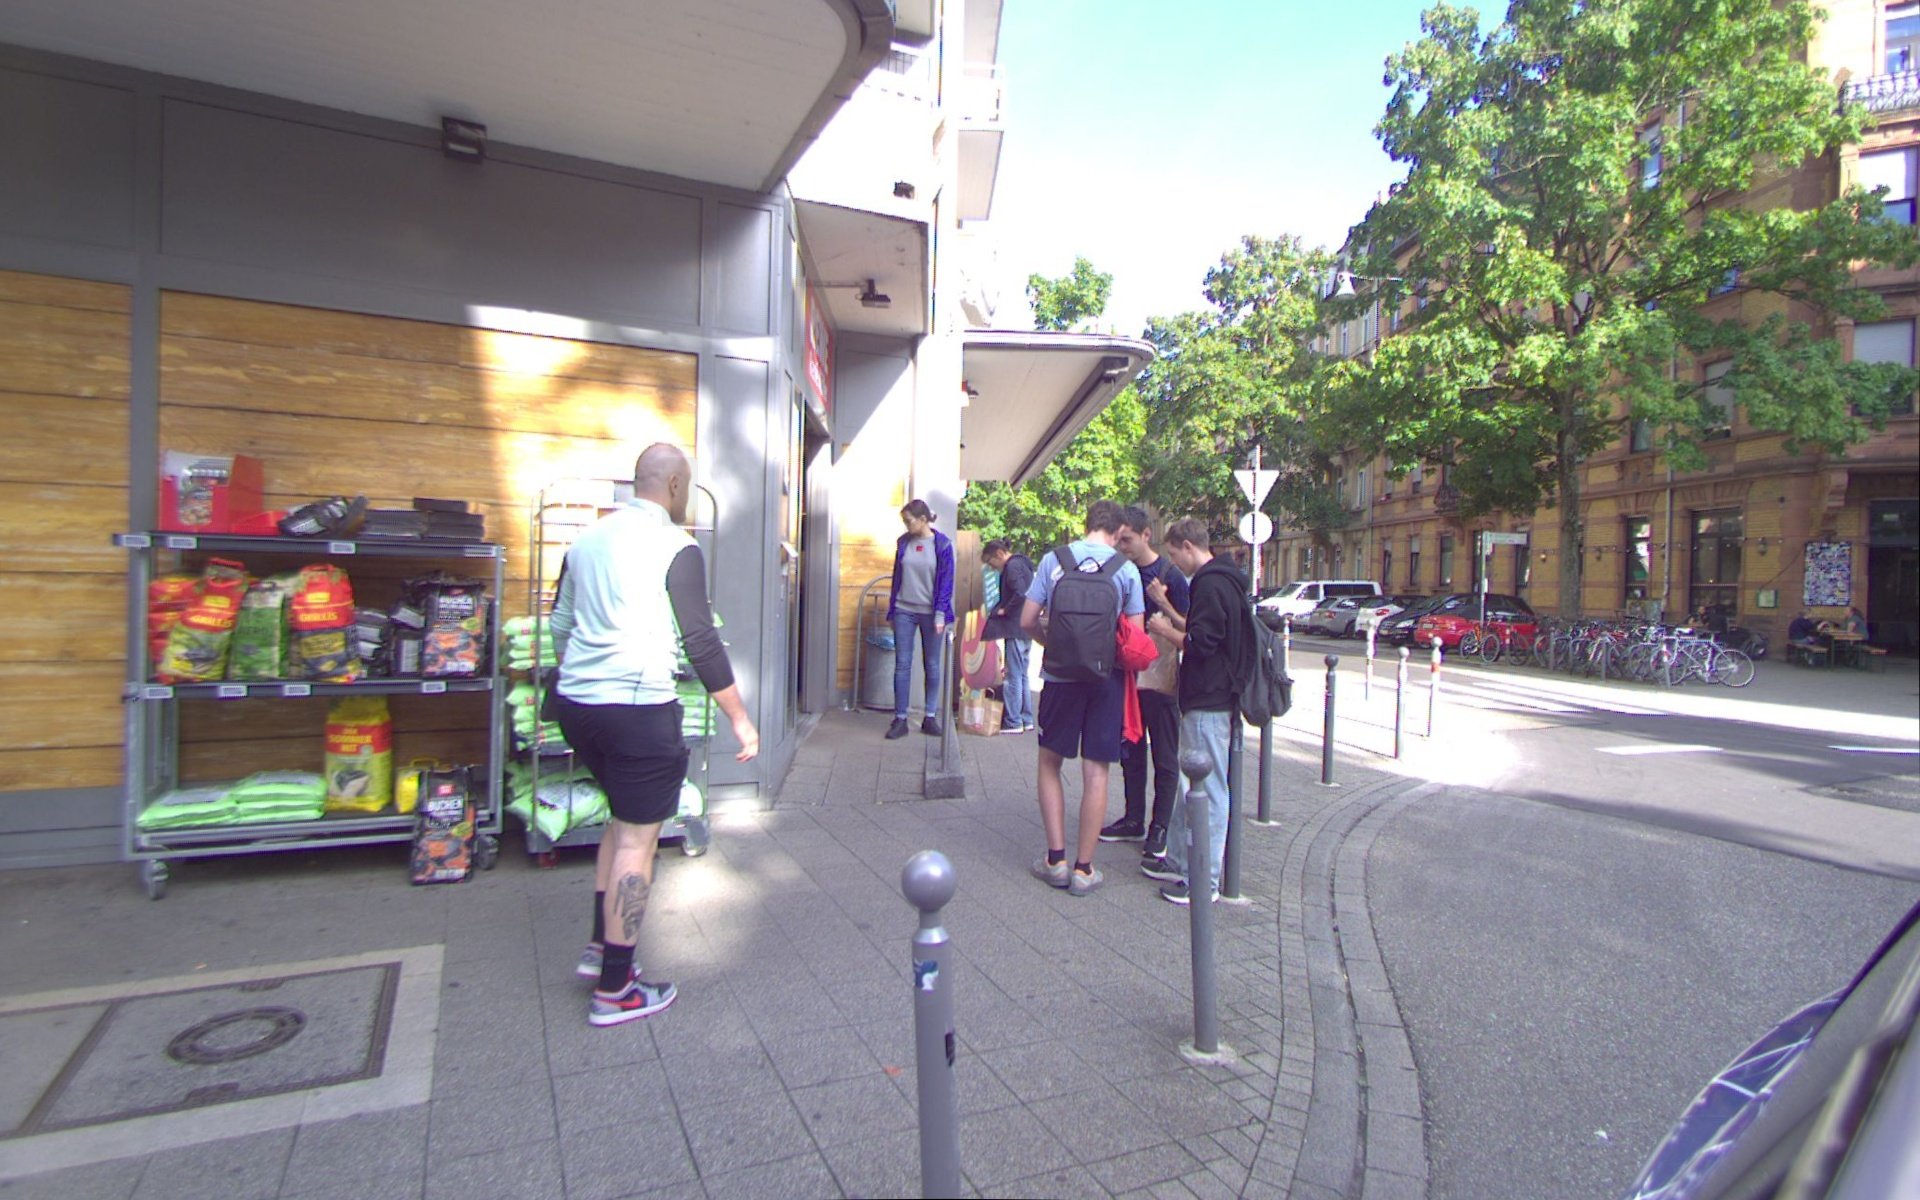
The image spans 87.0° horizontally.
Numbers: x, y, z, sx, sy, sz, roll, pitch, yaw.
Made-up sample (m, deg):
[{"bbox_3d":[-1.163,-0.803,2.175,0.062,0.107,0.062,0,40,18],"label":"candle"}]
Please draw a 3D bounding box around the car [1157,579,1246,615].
[{"bbox_3d":[13.317,-0.201,56.046,4.371,1.856,1.938,-1,1,-3],"label":"car"}]

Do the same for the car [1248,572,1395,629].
[{"bbox_3d":[13.791,-0.015,38.779,4.815,2.014,2.049,-1,1,-3],"label":"car"}]

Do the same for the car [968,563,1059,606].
[{"bbox_3d":[3.067,-0.861,57.653,4.715,2.249,2.149,2,0,-32],"label":"car"}]

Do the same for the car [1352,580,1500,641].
[{"bbox_3d":[14.278,0.306,31.161,3.639,1.743,1.860,1,0,2],"label":"car"}]

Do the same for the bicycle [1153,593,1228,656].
[{"bbox_3d":[4.718,0.485,20.800,0.405,1.190,1.857,2,1,-25],"label":"bicycle"}]

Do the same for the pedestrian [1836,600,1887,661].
[{"bbox_3d":[19.538,0.659,21.941,0.630,1.274,0.511,0,2,7],"label":"pedestrian"}]

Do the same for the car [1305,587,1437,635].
[{"bbox_3d":[13.535,0.350,33.456,3.639,1.476,1.669,-1,0,2],"label":"car"}]

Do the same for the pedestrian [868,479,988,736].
[{"bbox_3d":[-0.212,0.041,7.543,0.752,1.775,0.929,2,1,5],"label":"pedestrian"}]

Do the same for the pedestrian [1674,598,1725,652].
[{"bbox_3d":[18.124,0.599,24.815,0.754,1.301,0.629,-1,0,-2],"label":"pedestrian"}]

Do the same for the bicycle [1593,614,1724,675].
[{"bbox_3d":[13.267,0.827,19.262,2.014,1.102,0.446,0,1,13],"label":"bicycle"}]

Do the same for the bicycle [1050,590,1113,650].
[{"bbox_3d":[2.458,0.394,20.607,0.412,1.099,1.702,2,2,-24],"label":"bicycle"}]

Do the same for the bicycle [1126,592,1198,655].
[{"bbox_3d":[4.169,0.460,21.007,0.405,1.190,1.857,2,1,-25],"label":"bicycle"}]

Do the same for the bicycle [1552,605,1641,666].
[{"bbox_3d":[13.282,0.737,21.126,1.677,1.216,0.449,0,1,-8],"label":"bicycle"}]

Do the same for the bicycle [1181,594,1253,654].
[{"bbox_3d":[5.606,0.506,22.166,0.405,1.190,1.857,2,1,-25],"label":"bicycle"}]

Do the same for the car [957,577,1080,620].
[{"bbox_3d":[2.317,-0.041,39.810,4.535,1.514,1.753,2,0,-28],"label":"car"}]

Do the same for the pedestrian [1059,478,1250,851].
[{"bbox_3d":[0.986,0.313,5.283,0.645,1.818,0.657,3,3,-13],"label":"pedestrian"}]

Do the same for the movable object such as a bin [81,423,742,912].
[{"bbox_3d":[-2.267,0.248,4.531,2.373,1.766,0.783,1,1,-26],"label":"movable object such as a bin"}]

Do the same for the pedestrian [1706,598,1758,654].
[{"bbox_3d":[18.311,0.601,24.014,0.754,1.301,0.629,-1,0,-2],"label":"pedestrian"}]

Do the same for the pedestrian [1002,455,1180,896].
[{"bbox_3d":[0.587,0.300,4.618,0.622,1.818,0.714,4,3,7],"label":"pedestrian"}]

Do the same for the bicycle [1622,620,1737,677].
[{"bbox_3d":[13.334,0.896,18.788,1.686,0.999,0.446,0,2,13],"label":"bicycle"}]

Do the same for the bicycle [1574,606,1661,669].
[{"bbox_3d":[13.356,0.757,20.572,1.676,1.216,0.449,-1,1,-14],"label":"bicycle"}]

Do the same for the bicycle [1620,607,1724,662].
[{"bbox_3d":[15.393,0.736,21.903,1.767,1.127,0.600,0,1,4],"label":"bicycle"}]

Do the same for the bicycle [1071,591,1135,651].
[{"bbox_3d":[2.880,0.403,20.539,0.412,1.099,1.702,2,2,-24],"label":"bicycle"}]

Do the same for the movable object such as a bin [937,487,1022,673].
[{"bbox_3d":[0.175,-0.212,10.625,0.677,1.776,1.551,3,1,-3],"label":"movable object such as a bin"}]

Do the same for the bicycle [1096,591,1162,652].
[{"bbox_3d":[3.415,0.413,20.579,0.412,1.099,1.702,2,2,-24],"label":"bicycle"}]

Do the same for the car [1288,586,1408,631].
[{"bbox_3d":[13.823,0.275,36.193,3.638,1.476,1.670,-1,1,1],"label":"car"}]

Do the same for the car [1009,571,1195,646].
[{"bbox_3d":[3.348,0.181,24.098,3.916,1.473,1.815,4,1,-14],"label":"car"}]

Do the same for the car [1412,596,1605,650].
[{"bbox_3d":[13.862,0.577,25.695,4.032,1.286,1.568,-1,0,-2],"label":"car"}]

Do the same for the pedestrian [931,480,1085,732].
[{"bbox_3d":[0.431,0.024,8.836,0.858,2.038,1.022,4,2,33],"label":"pedestrian"}]

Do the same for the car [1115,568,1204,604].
[{"bbox_3d":[13.056,-0.897,66.443,5.378,2.229,2.000,1,0,0],"label":"car"}]

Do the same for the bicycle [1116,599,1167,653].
[{"bbox_3d":[3.689,0.513,20.700,0.404,1.031,1.505,2,1,-14],"label":"bicycle"}]

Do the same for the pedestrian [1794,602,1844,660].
[{"bbox_3d":[18.778,0.669,22.122,0.630,1.239,0.511,0,2,7],"label":"pedestrian"}]

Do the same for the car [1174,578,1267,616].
[{"bbox_3d":[13.776,-0.195,53.707,4.371,1.856,1.938,-1,1,-3],"label":"car"}]

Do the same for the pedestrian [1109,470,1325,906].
[{"bbox_3d":[1.193,0.348,4.683,0.709,1.818,0.626,5,3,29],"label":"pedestrian"}]

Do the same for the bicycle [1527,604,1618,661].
[{"bbox_3d":[13.391,0.696,22.150,1.681,1.216,0.448,0,1,4],"label":"bicycle"}]

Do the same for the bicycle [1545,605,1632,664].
[{"bbox_3d":[13.411,0.723,21.603,1.677,1.216,0.449,0,1,-8],"label":"bicycle"}]

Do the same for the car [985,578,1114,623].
[{"bbox_3d":[3.370,0.029,37.814,4.535,1.514,1.753,2,0,-28],"label":"car"}]

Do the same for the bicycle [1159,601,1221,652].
[{"bbox_3d":[4.963,0.560,21.918,0.482,1.014,1.426,2,1,-25],"label":"bicycle"}]

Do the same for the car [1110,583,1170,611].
[{"bbox_3d":[13.240,-0.219,74.567,4.048,1.898,2.000,1,0,0],"label":"car"}]

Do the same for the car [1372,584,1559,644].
[{"bbox_3d":[14.093,0.378,28.442,4.237,1.589,2.004,-1,0,6],"label":"car"}]

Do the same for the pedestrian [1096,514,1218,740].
[{"bbox_3d":[1.635,0.197,8.384,0.833,1.775,0.609,2,1,24],"label":"pedestrian"}]

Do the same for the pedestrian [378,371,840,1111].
[{"bbox_3d":[-1.072,0.324,3.199,0.880,1.856,1.035,4,3,32],"label":"pedestrian"}]

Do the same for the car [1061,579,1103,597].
[{"bbox_3d":[12.111,-1.184,100.747,3.923,1.754,1.830,1,0,-1],"label":"car"}]

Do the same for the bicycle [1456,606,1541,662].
[{"bbox_3d":[12.146,0.734,22.924,0.571,1.109,2.501,-2,2,0],"label":"bicycle"}]

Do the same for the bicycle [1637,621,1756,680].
[{"bbox_3d":[13.328,0.907,18.347,1.686,0.999,0.446,0,2,13],"label":"bicycle"}]

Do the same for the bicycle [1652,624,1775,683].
[{"bbox_3d":[13.292,0.935,17.893,1.686,0.981,0.446,0,2,13],"label":"bicycle"}]

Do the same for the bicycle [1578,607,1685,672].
[{"bbox_3d":[13.170,0.757,19.874,1.686,1.216,0.446,0,1,13],"label":"bicycle"}]
